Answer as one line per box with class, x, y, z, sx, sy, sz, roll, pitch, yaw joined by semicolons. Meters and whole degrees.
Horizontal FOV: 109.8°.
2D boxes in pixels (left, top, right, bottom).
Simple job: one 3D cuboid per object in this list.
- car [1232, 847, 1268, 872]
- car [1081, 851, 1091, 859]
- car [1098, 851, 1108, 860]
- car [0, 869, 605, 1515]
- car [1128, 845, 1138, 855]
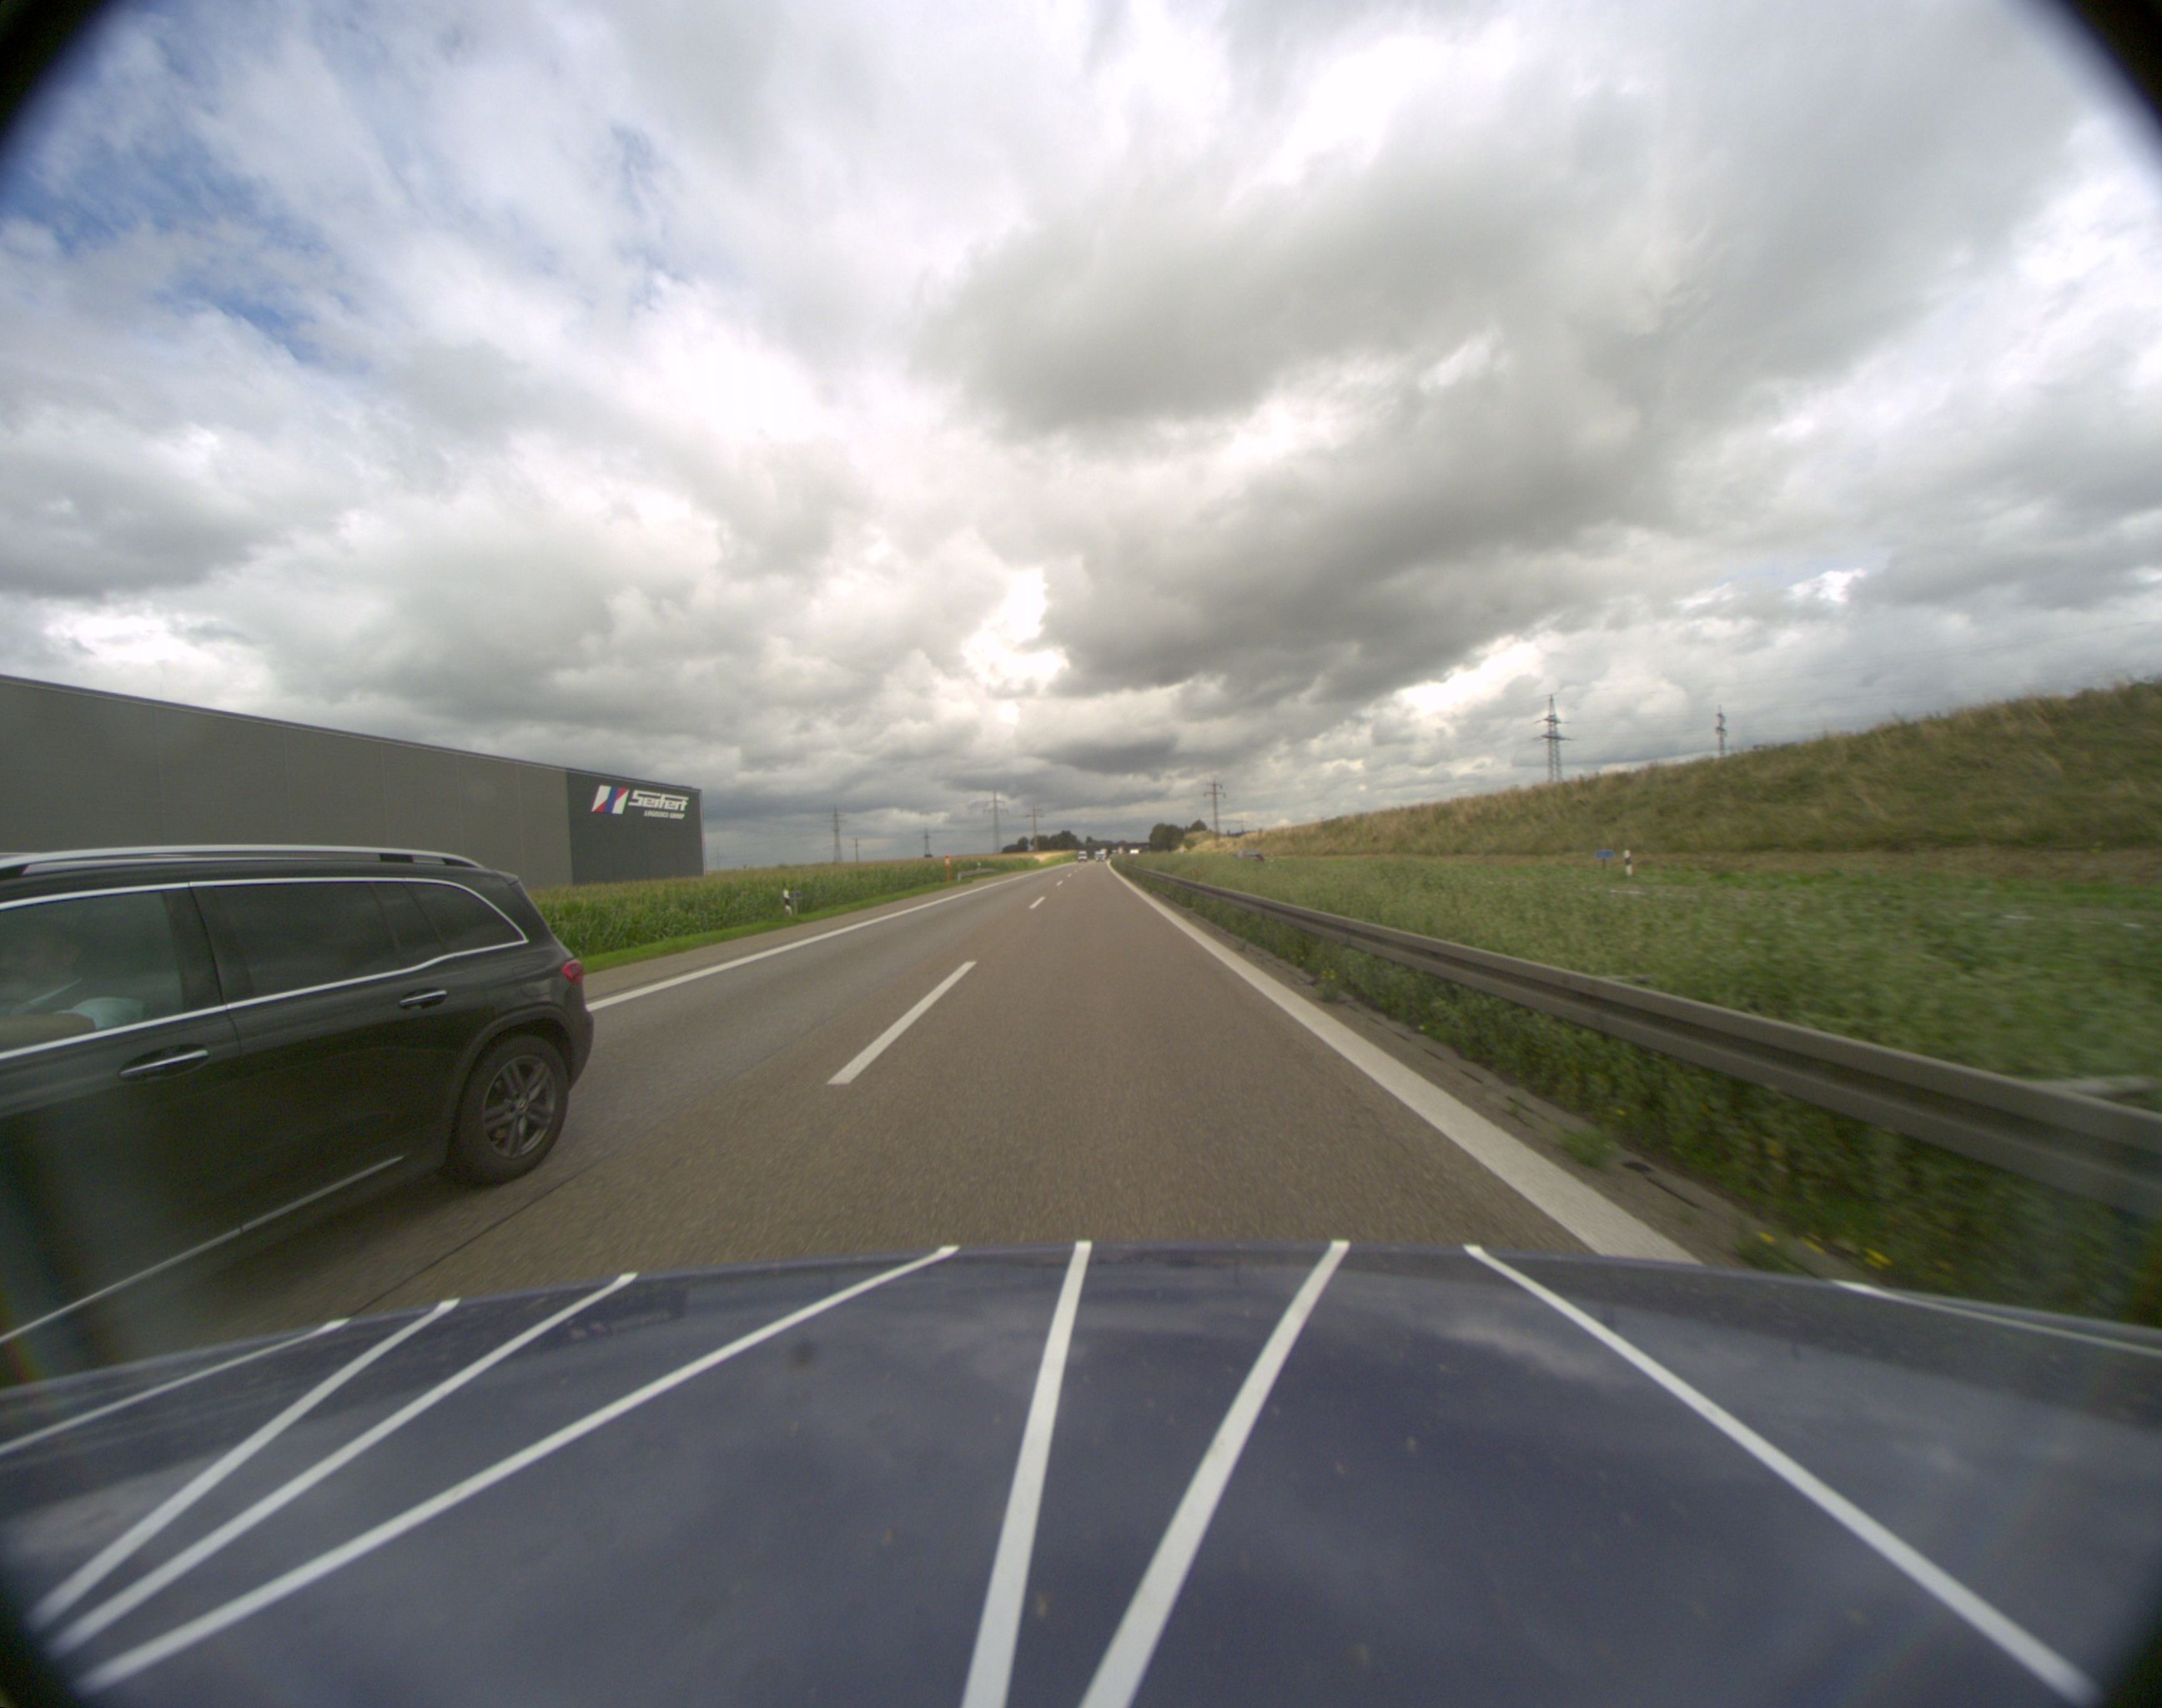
car;12.781;0.371;57.613;1.821;1.692;4.000;-3;1;1
car;1.206;0.312;181.148;1.998;1.812;4.342;-2;0;2
car;5.115;0.356;175.353;1.998;1.695;4.664;-4;-1;4
car;-3.745;0.945;2.205;1.838;1.600;4.360;-2;1;1
car;12.548;-0.965;182.185;2.129;2.254;5.452;-3;1;2
